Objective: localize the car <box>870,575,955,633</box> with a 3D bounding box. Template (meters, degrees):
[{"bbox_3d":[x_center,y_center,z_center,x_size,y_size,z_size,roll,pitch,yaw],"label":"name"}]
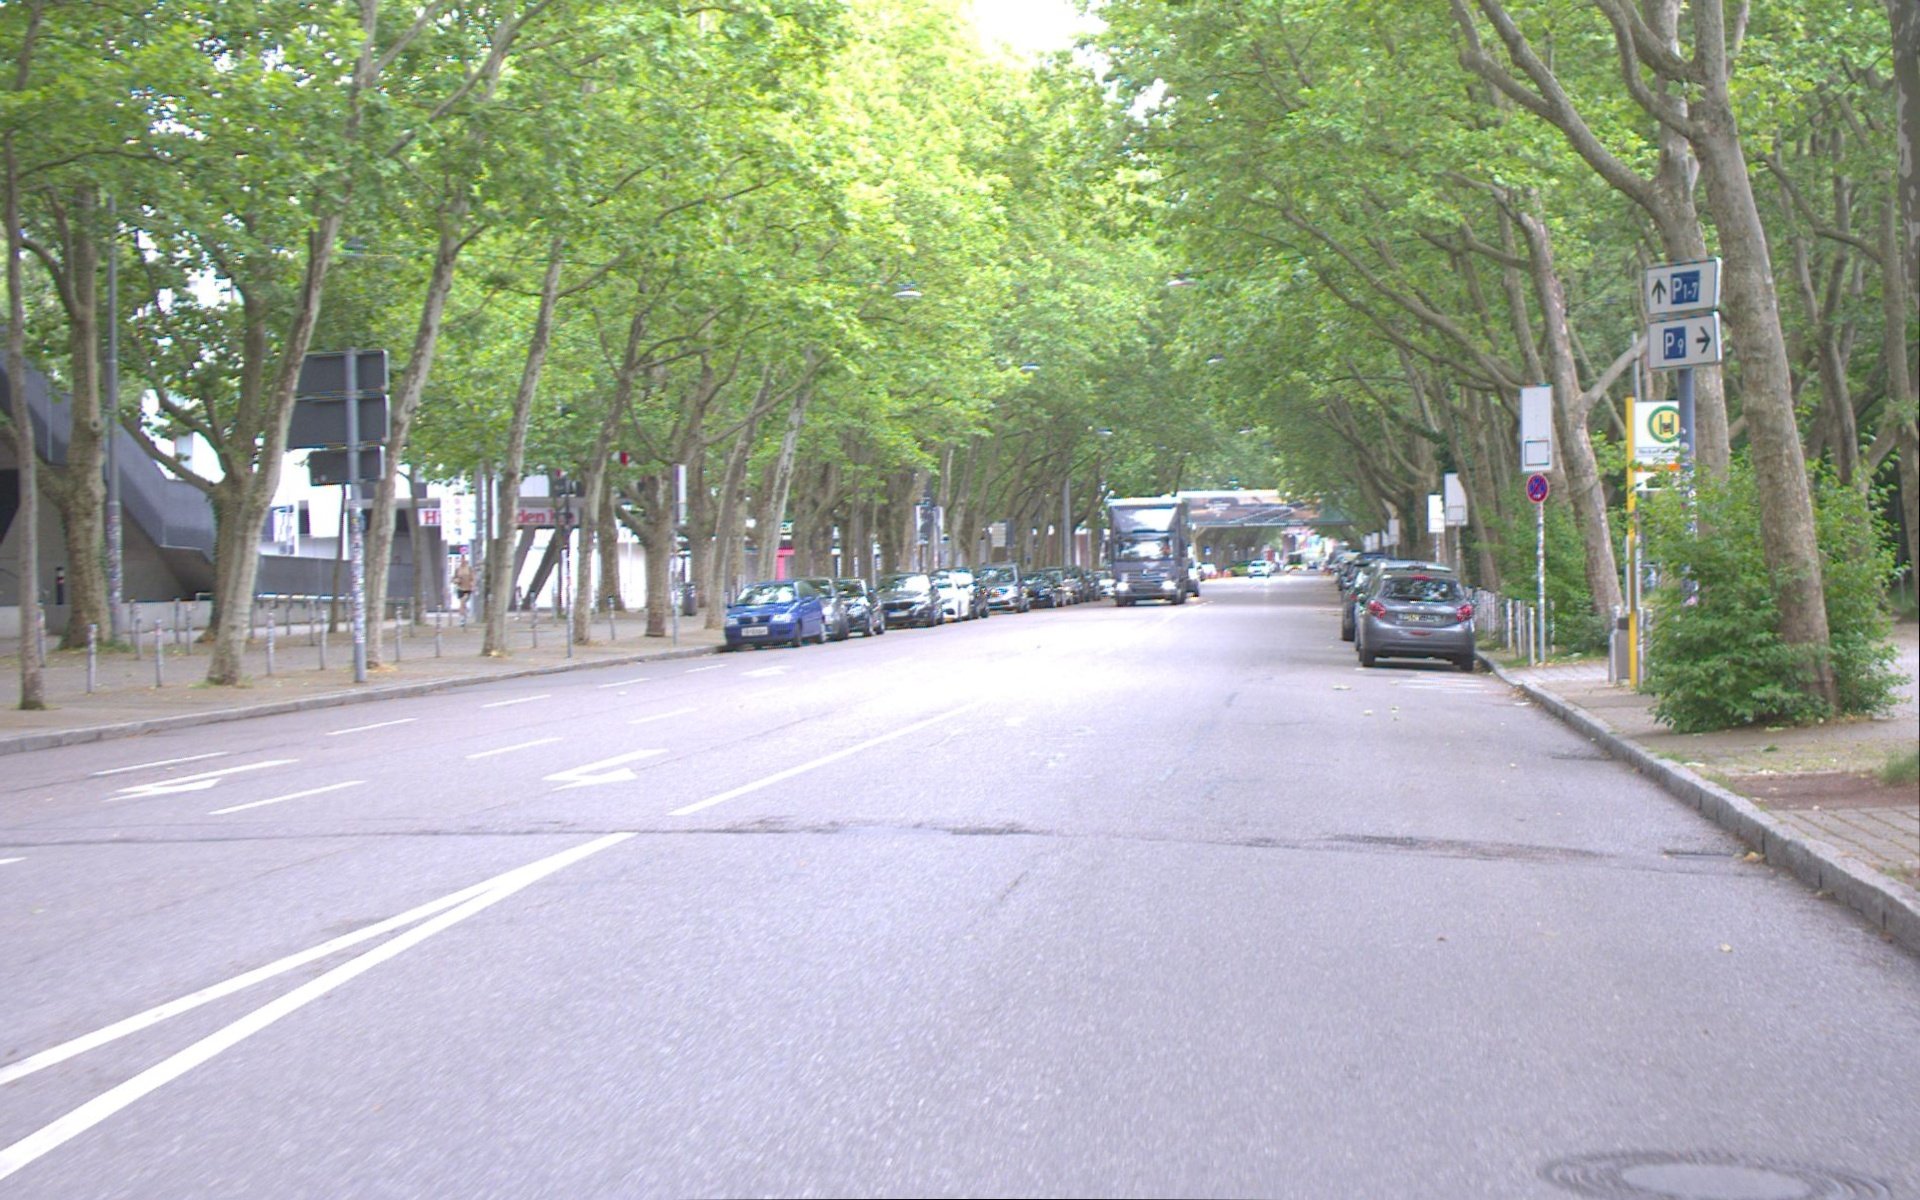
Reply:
[{"bbox_3d":[-1.239,0.121,91.731,1.766,1.414,3.760,-3,-1,6],"label":"car"}]

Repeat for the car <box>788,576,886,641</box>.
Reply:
[{"bbox_3d":[-2.911,0.210,81.910,1.766,1.414,3.760,-3,-1,6],"label":"car"}]

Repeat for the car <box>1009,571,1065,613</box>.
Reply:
[{"bbox_3d":[2.951,-0.294,131.097,1.895,1.433,3.999,-2,-1,5],"label":"car"}]

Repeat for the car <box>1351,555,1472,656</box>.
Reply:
[{"bbox_3d":[7.657,0.066,58.583,1.719,1.562,4.094,3,1,4],"label":"car"}]

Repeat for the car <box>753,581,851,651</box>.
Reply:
[{"bbox_3d":[-3.527,0.370,77.220,1.766,1.414,3.761,-3,-1,3],"label":"car"}]

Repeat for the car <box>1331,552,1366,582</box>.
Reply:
[{"bbox_3d":[20.534,-1.756,181.710,1.756,1.529,3.928,2,1,6],"label":"car"}]

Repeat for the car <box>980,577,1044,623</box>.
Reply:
[{"bbox_3d":[1.814,0.013,118.875,1.895,1.433,3.999,-2,-1,5],"label":"car"}]

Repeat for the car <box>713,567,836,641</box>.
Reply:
[{"bbox_3d":[-3.878,0.082,72.485,1.696,1.414,3.760,-4,-1,10],"label":"car"}]

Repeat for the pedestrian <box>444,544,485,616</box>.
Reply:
[{"bbox_3d":[-12.730,-0.515,88.294,0.769,1.828,0.879,-1,1,-28],"label":"pedestrian"}]

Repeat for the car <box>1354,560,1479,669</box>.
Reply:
[{"bbox_3d":[7.020,0.189,53.180,1.699,1.514,4.453,3,1,6],"label":"car"}]

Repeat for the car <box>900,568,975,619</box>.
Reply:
[{"bbox_3d":[-0.623,-0.178,98.960,1.733,1.328,3.999,-2,-1,5],"label":"car"}]

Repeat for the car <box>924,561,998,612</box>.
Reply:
[{"bbox_3d":[0.059,-0.394,104.631,1.895,1.433,3.999,-2,-1,5],"label":"car"}]

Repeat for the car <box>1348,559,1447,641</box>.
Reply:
[{"bbox_3d":[8.626,-0.017,68.065,1.756,1.485,4.416,3,1,6],"label":"car"}]

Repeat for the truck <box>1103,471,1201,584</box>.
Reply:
[{"bbox_3d":[7.135,-2.611,126.403,2.642,3.888,9.537,-2,0,8],"label":"truck"}]
